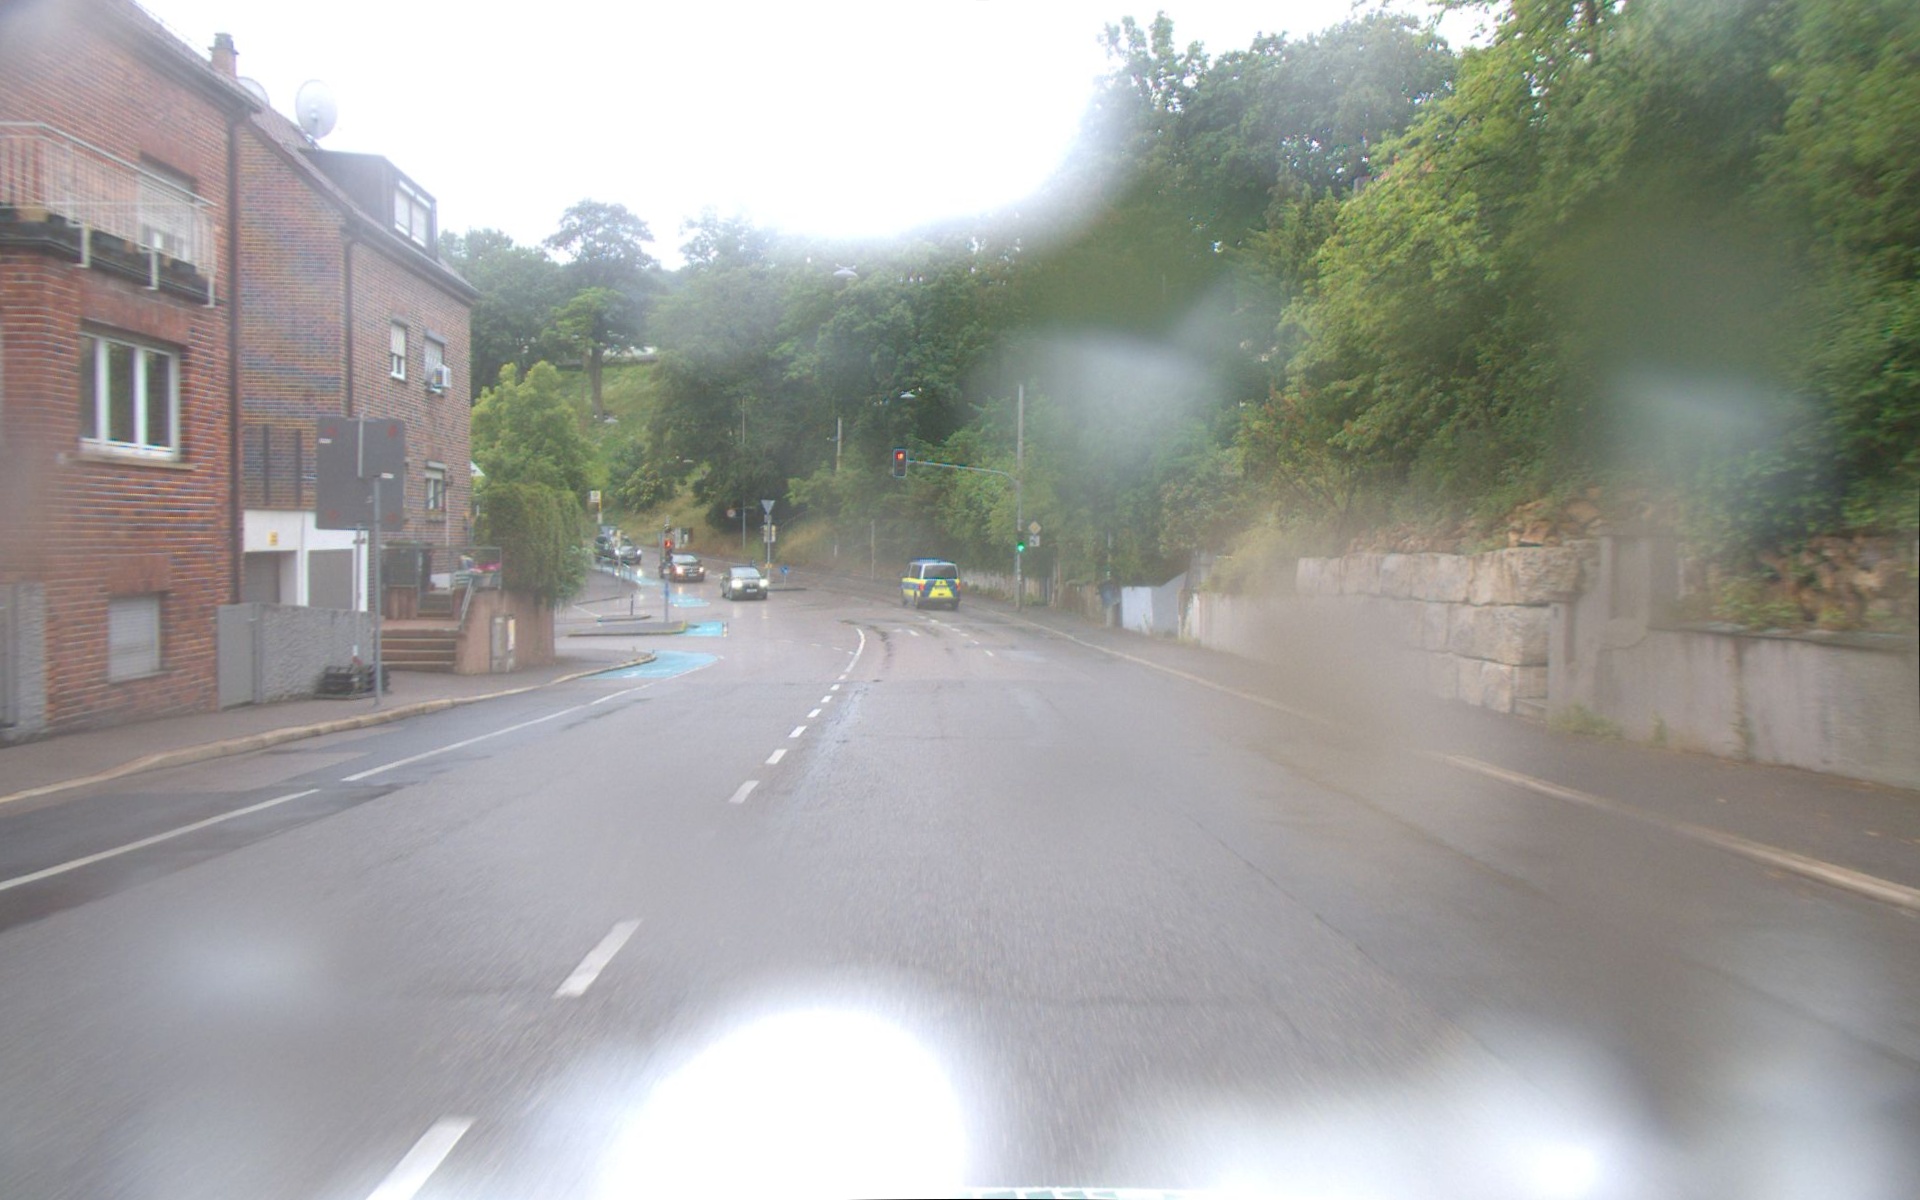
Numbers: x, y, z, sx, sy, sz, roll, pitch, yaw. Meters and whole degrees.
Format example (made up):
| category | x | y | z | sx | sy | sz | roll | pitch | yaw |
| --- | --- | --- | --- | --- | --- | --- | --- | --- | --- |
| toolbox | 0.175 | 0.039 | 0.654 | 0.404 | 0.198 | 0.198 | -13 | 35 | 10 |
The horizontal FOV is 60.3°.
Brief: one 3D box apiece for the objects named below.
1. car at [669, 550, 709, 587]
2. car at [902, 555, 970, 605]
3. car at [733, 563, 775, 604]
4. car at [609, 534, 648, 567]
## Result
| category | x | y | z | sx | sy | sz | roll | pitch | yaw |
| --- | --- | --- | --- | --- | --- | --- | --- | --- | --- |
| car | -15.029 | -1.771 | 91.491 | 1.713 | 1.575 | 3.987 | -5 | 7 | -14 |
| car | -1.081 | -0.911 | 71.496 | 2.266 | 1.973 | 4.317 | -3 | 2 | -9 |
| car | -9.869 | -0.819 | 79.028 | 1.709 | 1.576 | 3.993 | -3 | 5 | -9 |
| car | -20.709 | -3.111 | 103.310 | 1.717 | 1.575 | 3.978 | -4 | 8 | -21 |
